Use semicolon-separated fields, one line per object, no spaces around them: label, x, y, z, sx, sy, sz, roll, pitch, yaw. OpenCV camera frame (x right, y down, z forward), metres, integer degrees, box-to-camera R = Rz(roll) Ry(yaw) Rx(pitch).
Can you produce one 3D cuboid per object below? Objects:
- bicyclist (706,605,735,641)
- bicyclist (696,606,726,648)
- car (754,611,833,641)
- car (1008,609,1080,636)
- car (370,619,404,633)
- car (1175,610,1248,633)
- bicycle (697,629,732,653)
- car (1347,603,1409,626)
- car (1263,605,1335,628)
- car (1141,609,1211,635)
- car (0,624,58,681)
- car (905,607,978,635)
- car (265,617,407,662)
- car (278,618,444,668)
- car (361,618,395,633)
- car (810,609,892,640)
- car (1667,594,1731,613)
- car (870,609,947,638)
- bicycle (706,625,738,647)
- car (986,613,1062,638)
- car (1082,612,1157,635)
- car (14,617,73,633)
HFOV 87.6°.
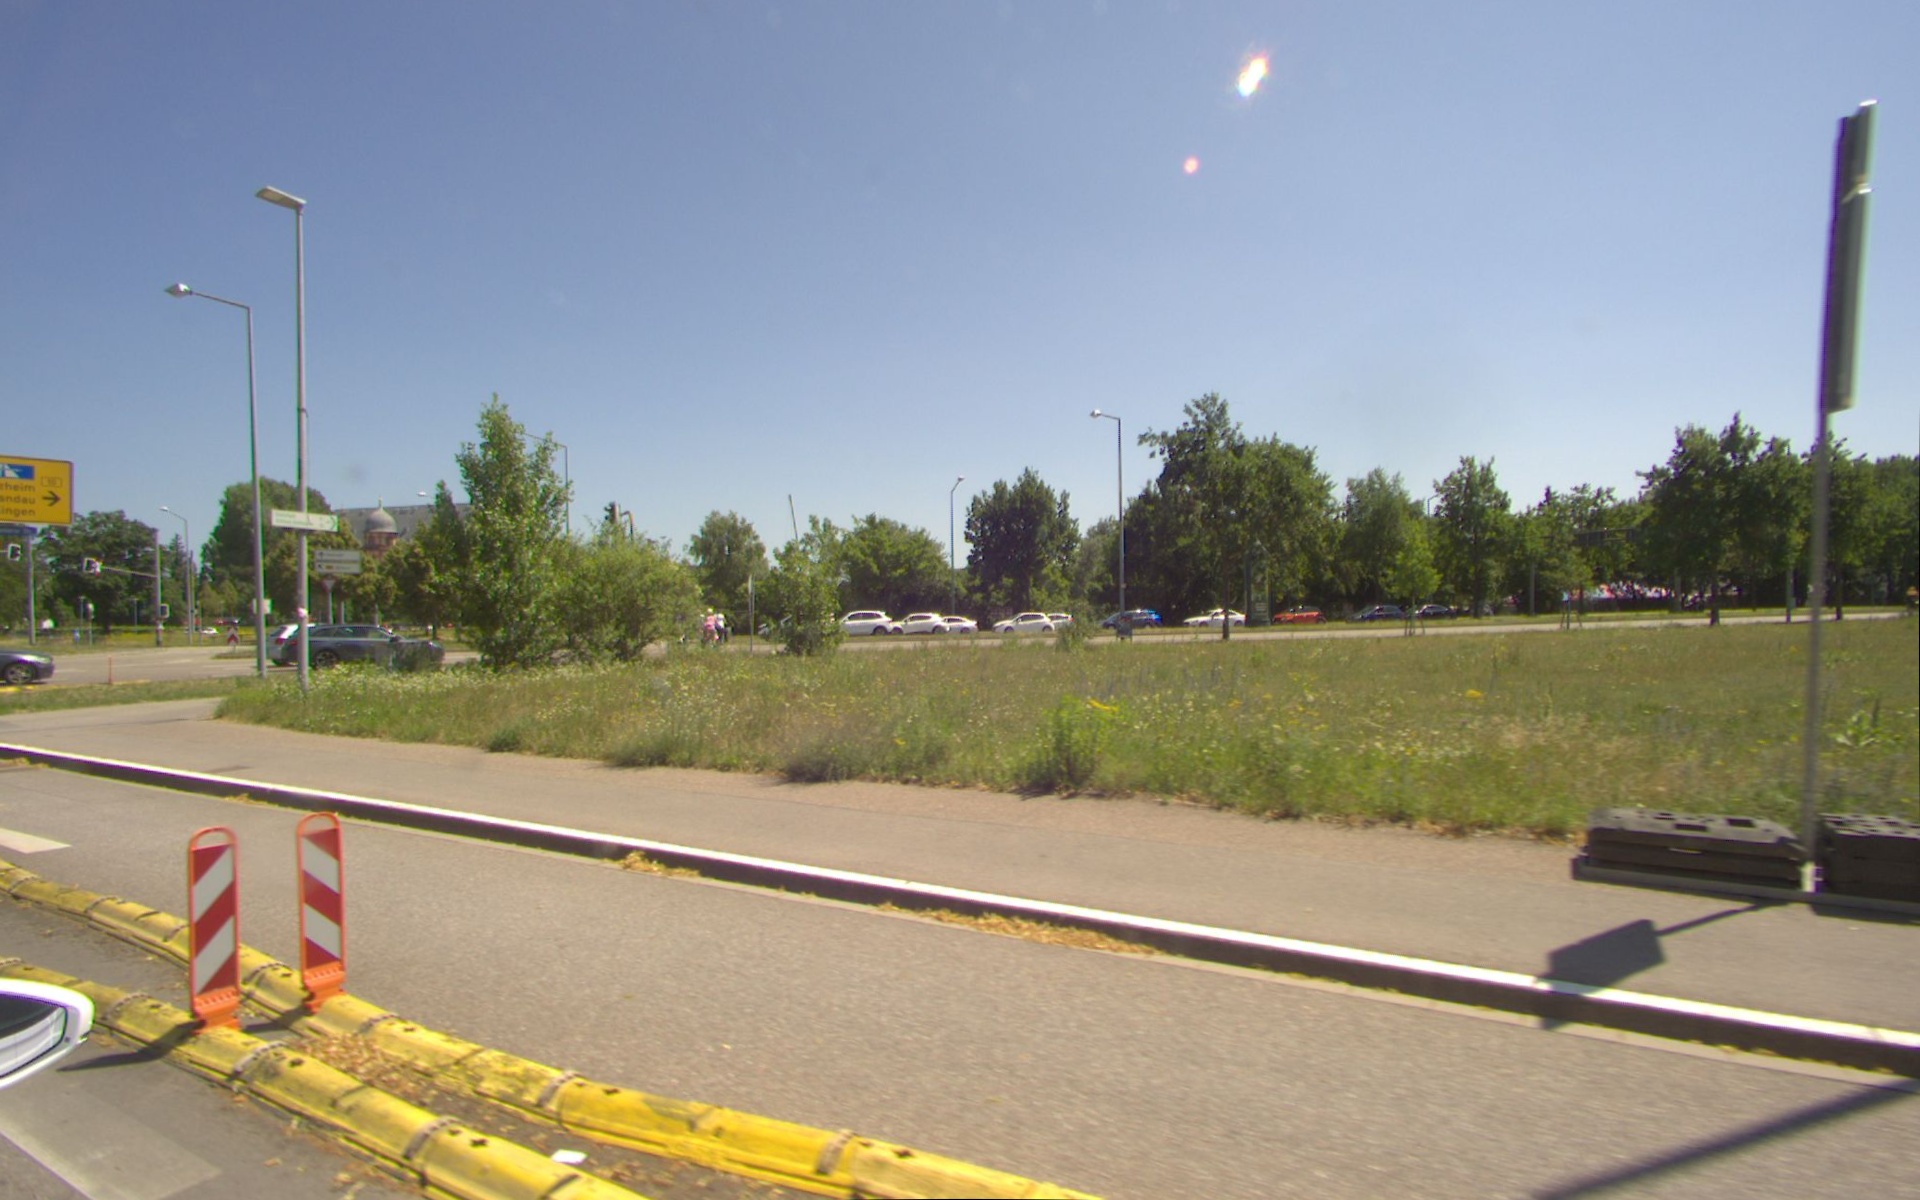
bicyclist;-10.596;1.000;44.394;0.941;1.552;1.185;-1;1;3
bicyclist;-9.888;1.072;39.833;0.941;1.630;1.186;-1;-1;-2
car;-9.658;1.504;58.058;4.329;1.639;1.862;0;0;-16
car;5.535;1.472;65.979;4.329;1.705;1.862;0;0;-16
car;-84.813;3.813;148.261;3.931;2.039;1.996;0;-2;-19
car;16.623;1.430;66.150;4.329;1.441;1.862;0;0;-16
bicycle;-9.788;1.614;40.011;0.881;0.912;2.227;1;-2;-2
car;28.994;1.020;69.460;3.730;1.493;1.718;0;-2;-17
car;23.103;1.115;68.240;4.329;1.441;1.862;0;0;-16
car;14.817;1.515;68.839;4.329;1.705;1.862;0;0;-16
car;-25.850;1.370;25.580;1.734;1.422;4.044;0;0;43
car;-1.165;1.320;63.889;4.329;1.705;1.862;0;0;-16
car;-22.086;1.359;35.539;1.764;1.441;3.963;-1;0;44
car;-19.540;1.351;32.740;4.405;1.437;1.983;0;0;-40
car;-84.716;3.713;145.729;3.931;2.039;1.996;0;-2;-19
car;-6.165;1.366;56.355;4.329;1.705;1.862;0;0;-16
car;58.384;0.252;79.112;4.329;1.441;1.862;0;0;-16
car;-3.105;1.408;60.270;4.329;1.705;1.862;0;0;-16
bicycle;-10.541;1.590;44.437;0.881;0.912;1.762;1;1;4
car;3.963;1.571;62.407;4.329;1.441;1.862;0;0;-16
car;10.197;1.501;64.134;4.329;1.441;1.862;0;0;-16
car;-93.889;2.613;102.625;3.934;1.594;1.995;0;-2;-22
